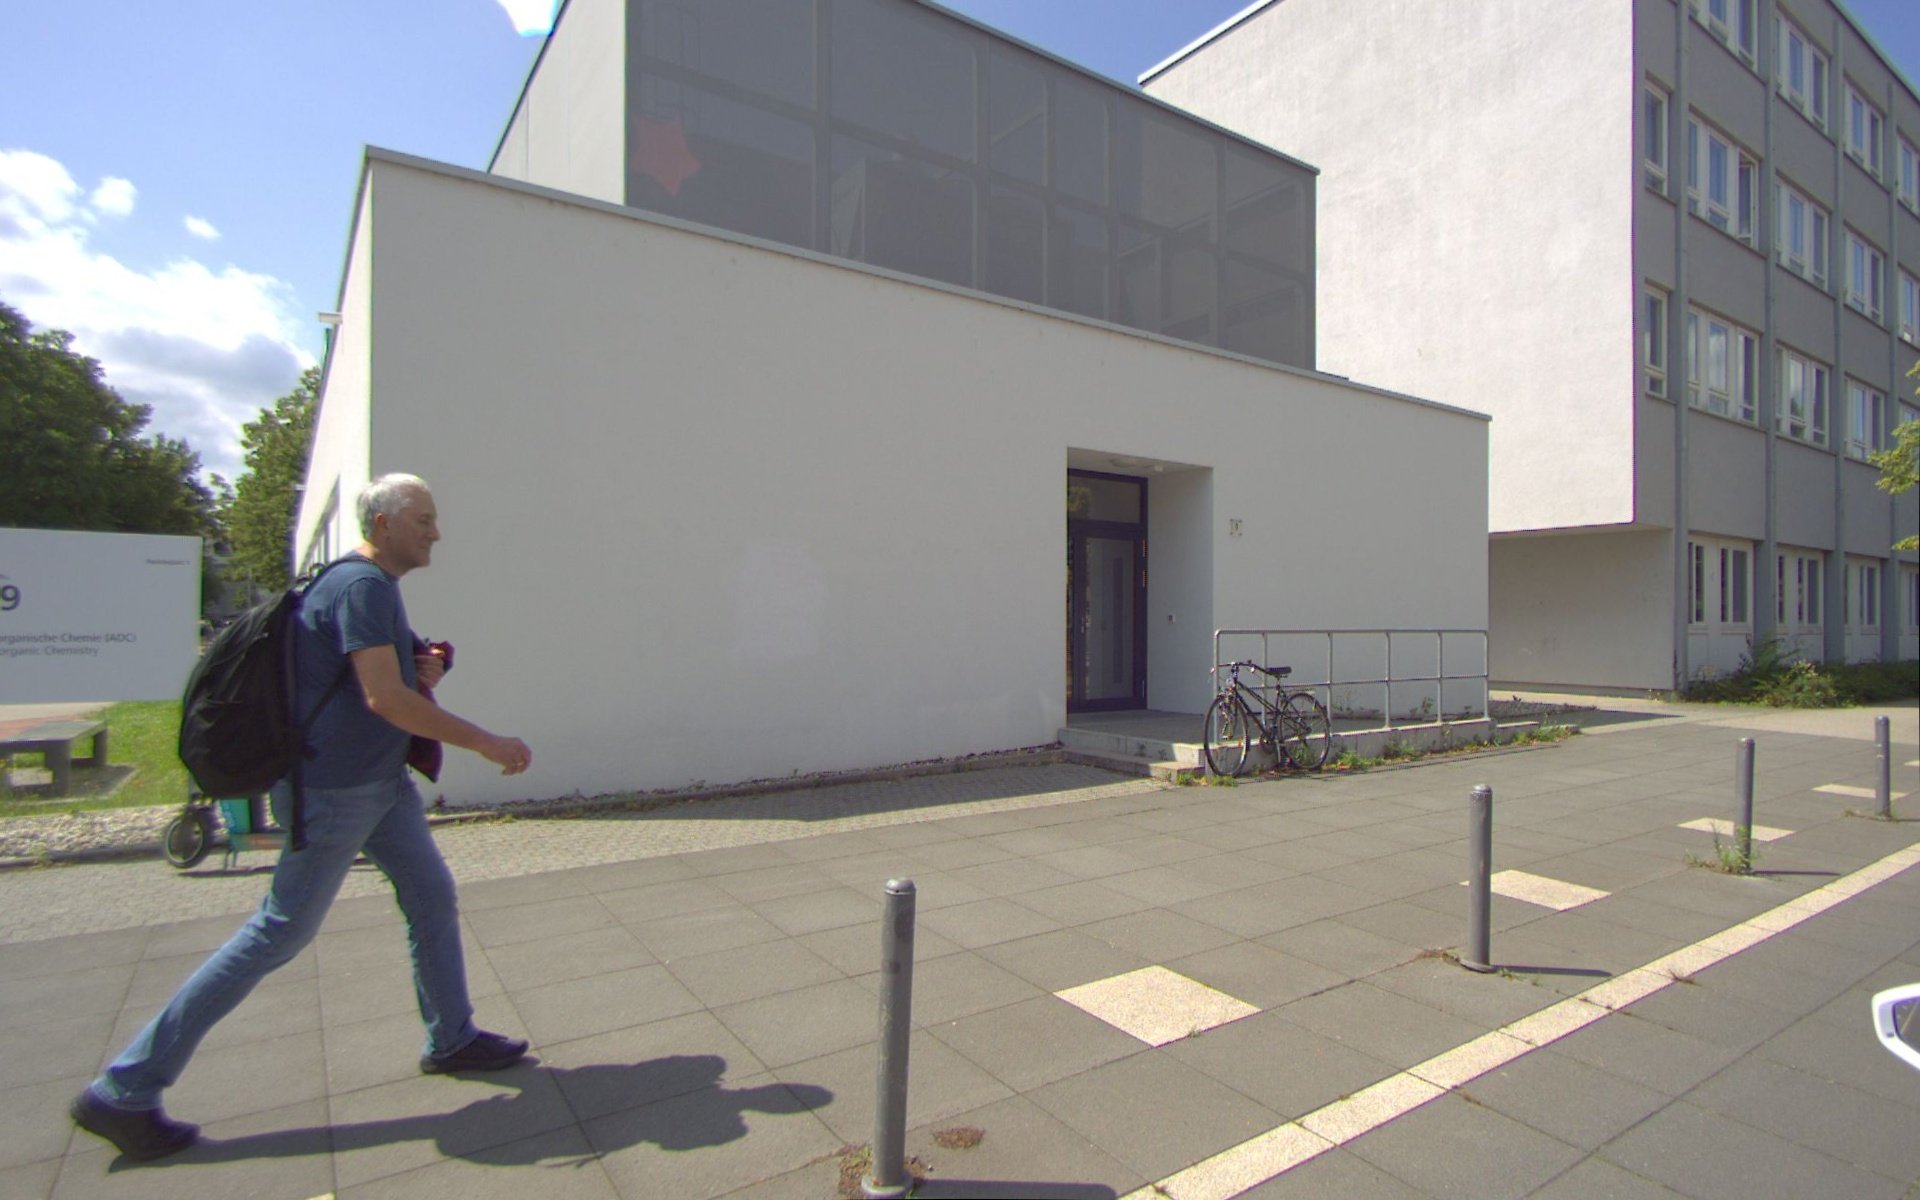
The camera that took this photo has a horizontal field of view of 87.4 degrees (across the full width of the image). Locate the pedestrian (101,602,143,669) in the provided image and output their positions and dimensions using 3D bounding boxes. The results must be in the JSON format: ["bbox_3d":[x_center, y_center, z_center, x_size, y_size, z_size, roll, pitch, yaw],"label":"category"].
[{"bbox_3d":[-24.583,1.036,29.472,0.816,1.908,0.757,1,-1,-32],"label":"pedestrian"}]

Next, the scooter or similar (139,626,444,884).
[{"bbox_3d":[-3.563,0.782,5.466,1.294,1.280,0.481,1,-1,-23],"label":"scooter or similar"}]

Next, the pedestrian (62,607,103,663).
[{"bbox_3d":[-25.164,0.999,28.816,0.750,1.583,0.724,1,-1,-32],"label":"pedestrian"}]

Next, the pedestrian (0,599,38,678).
[{"bbox_3d":[-20.598,0.817,21.664,0.788,1.676,0.729,1,-1,-18],"label":"pedestrian"}]

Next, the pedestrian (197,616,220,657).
[{"bbox_3d":[-31.952,1.539,42.698,0.717,1.716,0.554,1,-1,-32],"label":"pedestrian"}]

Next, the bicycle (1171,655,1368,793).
[{"bbox_3d":[2.754,1.048,8.877,1.876,1.075,0.541,1,-1,-30],"label":"bicycle"}]

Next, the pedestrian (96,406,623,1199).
[{"bbox_3d":[-1.669,0.517,2.842,1.135,1.841,0.816,1,-1,-40],"label":"pedestrian"}]
